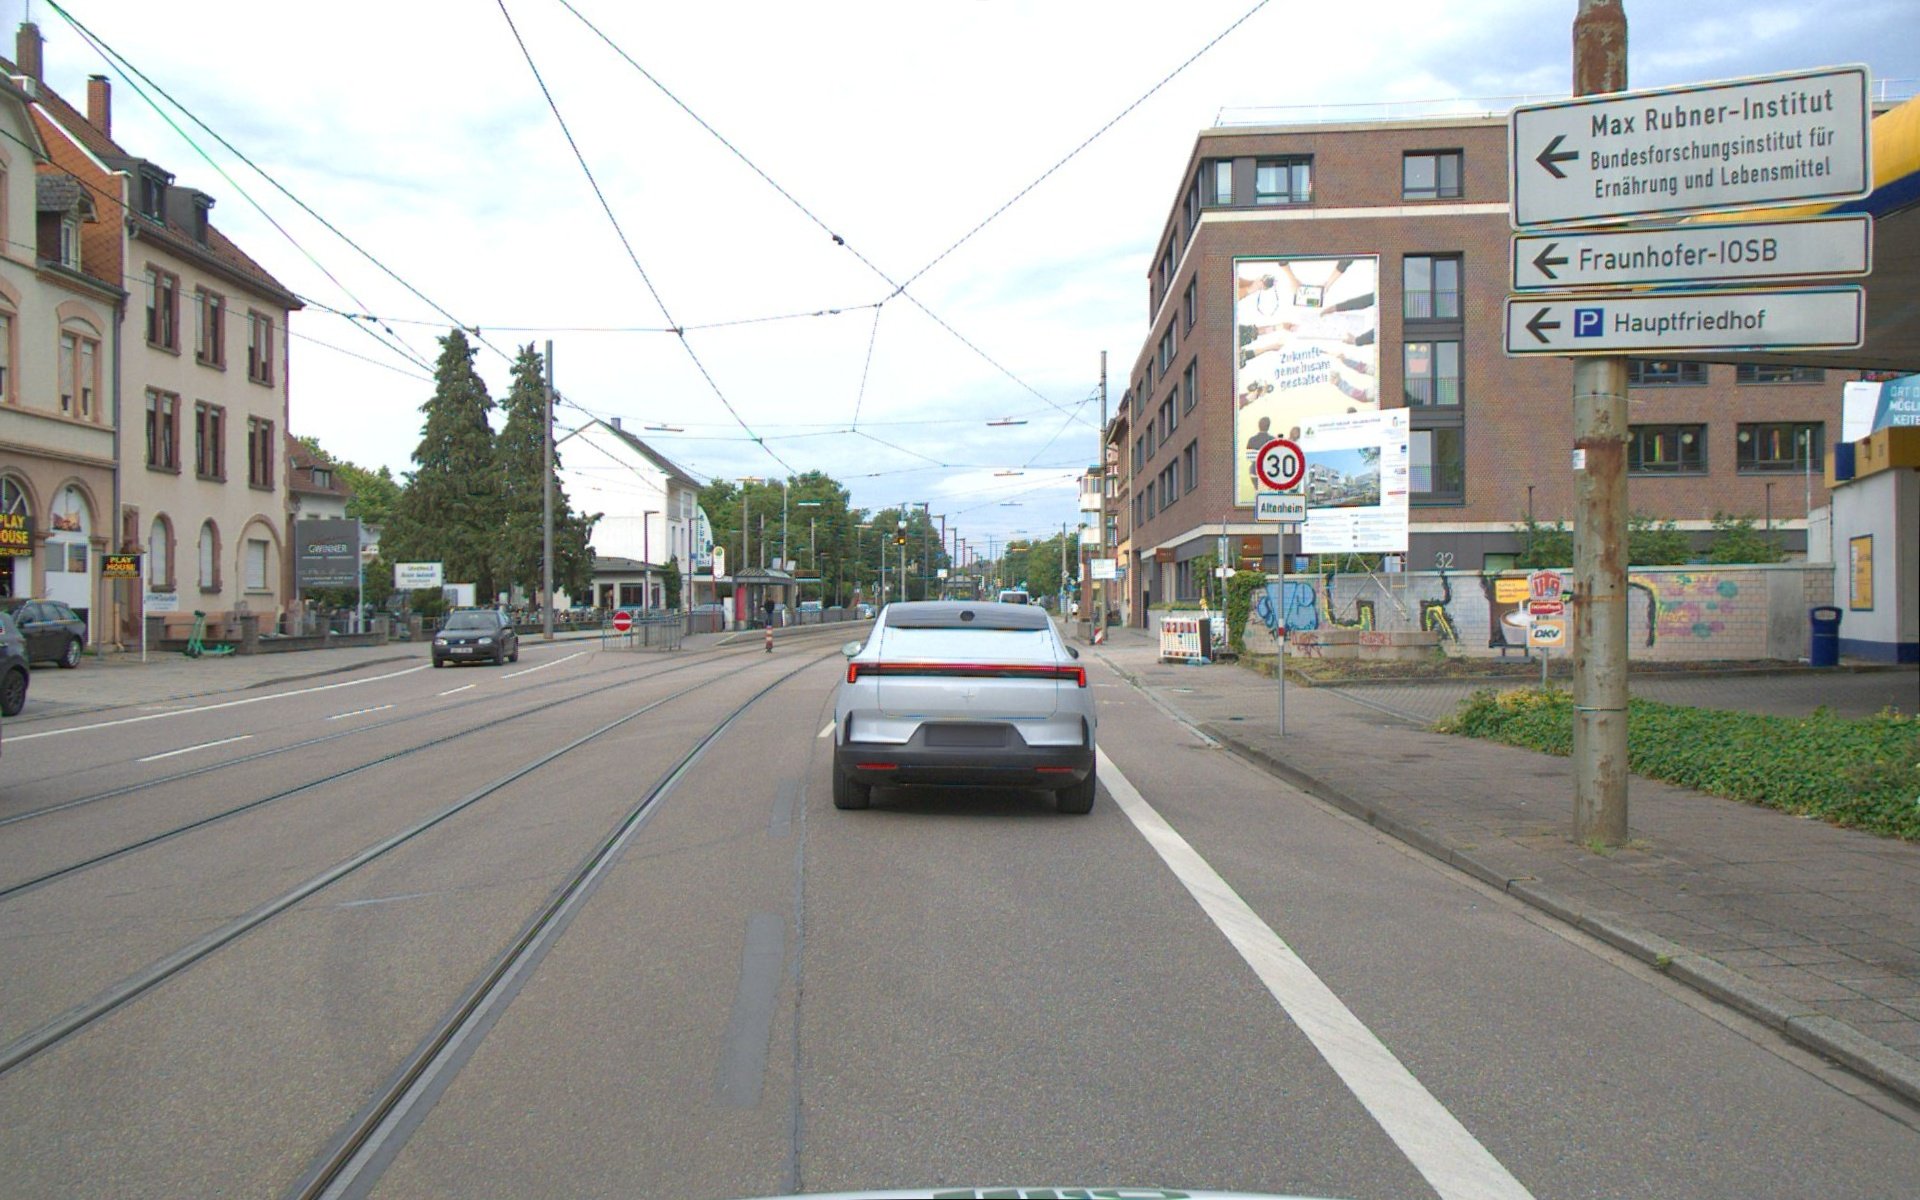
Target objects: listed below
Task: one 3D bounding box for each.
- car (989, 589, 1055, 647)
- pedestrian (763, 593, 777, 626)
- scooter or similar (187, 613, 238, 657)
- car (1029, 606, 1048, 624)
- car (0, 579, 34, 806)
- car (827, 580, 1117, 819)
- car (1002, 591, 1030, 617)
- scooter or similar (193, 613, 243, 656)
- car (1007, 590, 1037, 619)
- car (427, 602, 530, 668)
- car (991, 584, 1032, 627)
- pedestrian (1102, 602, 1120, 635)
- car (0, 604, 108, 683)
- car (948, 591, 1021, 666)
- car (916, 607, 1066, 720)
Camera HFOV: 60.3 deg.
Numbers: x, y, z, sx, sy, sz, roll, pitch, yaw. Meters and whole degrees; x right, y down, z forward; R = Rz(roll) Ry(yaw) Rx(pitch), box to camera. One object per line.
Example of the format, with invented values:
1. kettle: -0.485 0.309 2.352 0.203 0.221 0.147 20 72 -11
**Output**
1. car: 2.044 0.587 55.665 1.953 1.847 3.999 -1 0 -1
2. pedestrian: -9.784 0.499 85.198 0.602 1.694 0.698 0 -1 5
3. scooter or similar: -19.633 0.918 43.431 1.163 1.121 0.522 1 -1 -32
4. car: 9.450 1.800 198.837 1.953 2.049 3.999 1 -1 -1
5. car: -8.080 0.709 11.061 1.808 1.754 4.399 0 0 -8
6. car: 0.018 0.702 13.265 1.959 1.608 3.998 1 -1 -2
7. car: 4.370 0.318 129.939 1.953 2.049 3.999 1 -1 -1
8. scooter or similar: -19.839 0.923 44.243 1.163 1.121 0.522 1 -1 -32
9. car: 4.485 0.310 120.043 1.953 2.049 3.999 1 -1 -1
10. car: -12.468 0.884 43.050 1.755 1.557 4.136 -2 0 -5
11. car: 3.042 0.343 98.312 2.181 2.444 5.121 1 -1 -1
12. pedestrian: 9.075 1.103 99.185 0.940 1.882 0.976 -2 0 8
13. car: -19.511 0.840 33.653 1.953 1.519 4.900 0 0 -3
14. car: 0.638 0.668 40.054 1.646 1.717 3.825 1 -1 2
15. car: 0.447 0.845 23.747 1.952 1.444 4.000 -1 0 1
